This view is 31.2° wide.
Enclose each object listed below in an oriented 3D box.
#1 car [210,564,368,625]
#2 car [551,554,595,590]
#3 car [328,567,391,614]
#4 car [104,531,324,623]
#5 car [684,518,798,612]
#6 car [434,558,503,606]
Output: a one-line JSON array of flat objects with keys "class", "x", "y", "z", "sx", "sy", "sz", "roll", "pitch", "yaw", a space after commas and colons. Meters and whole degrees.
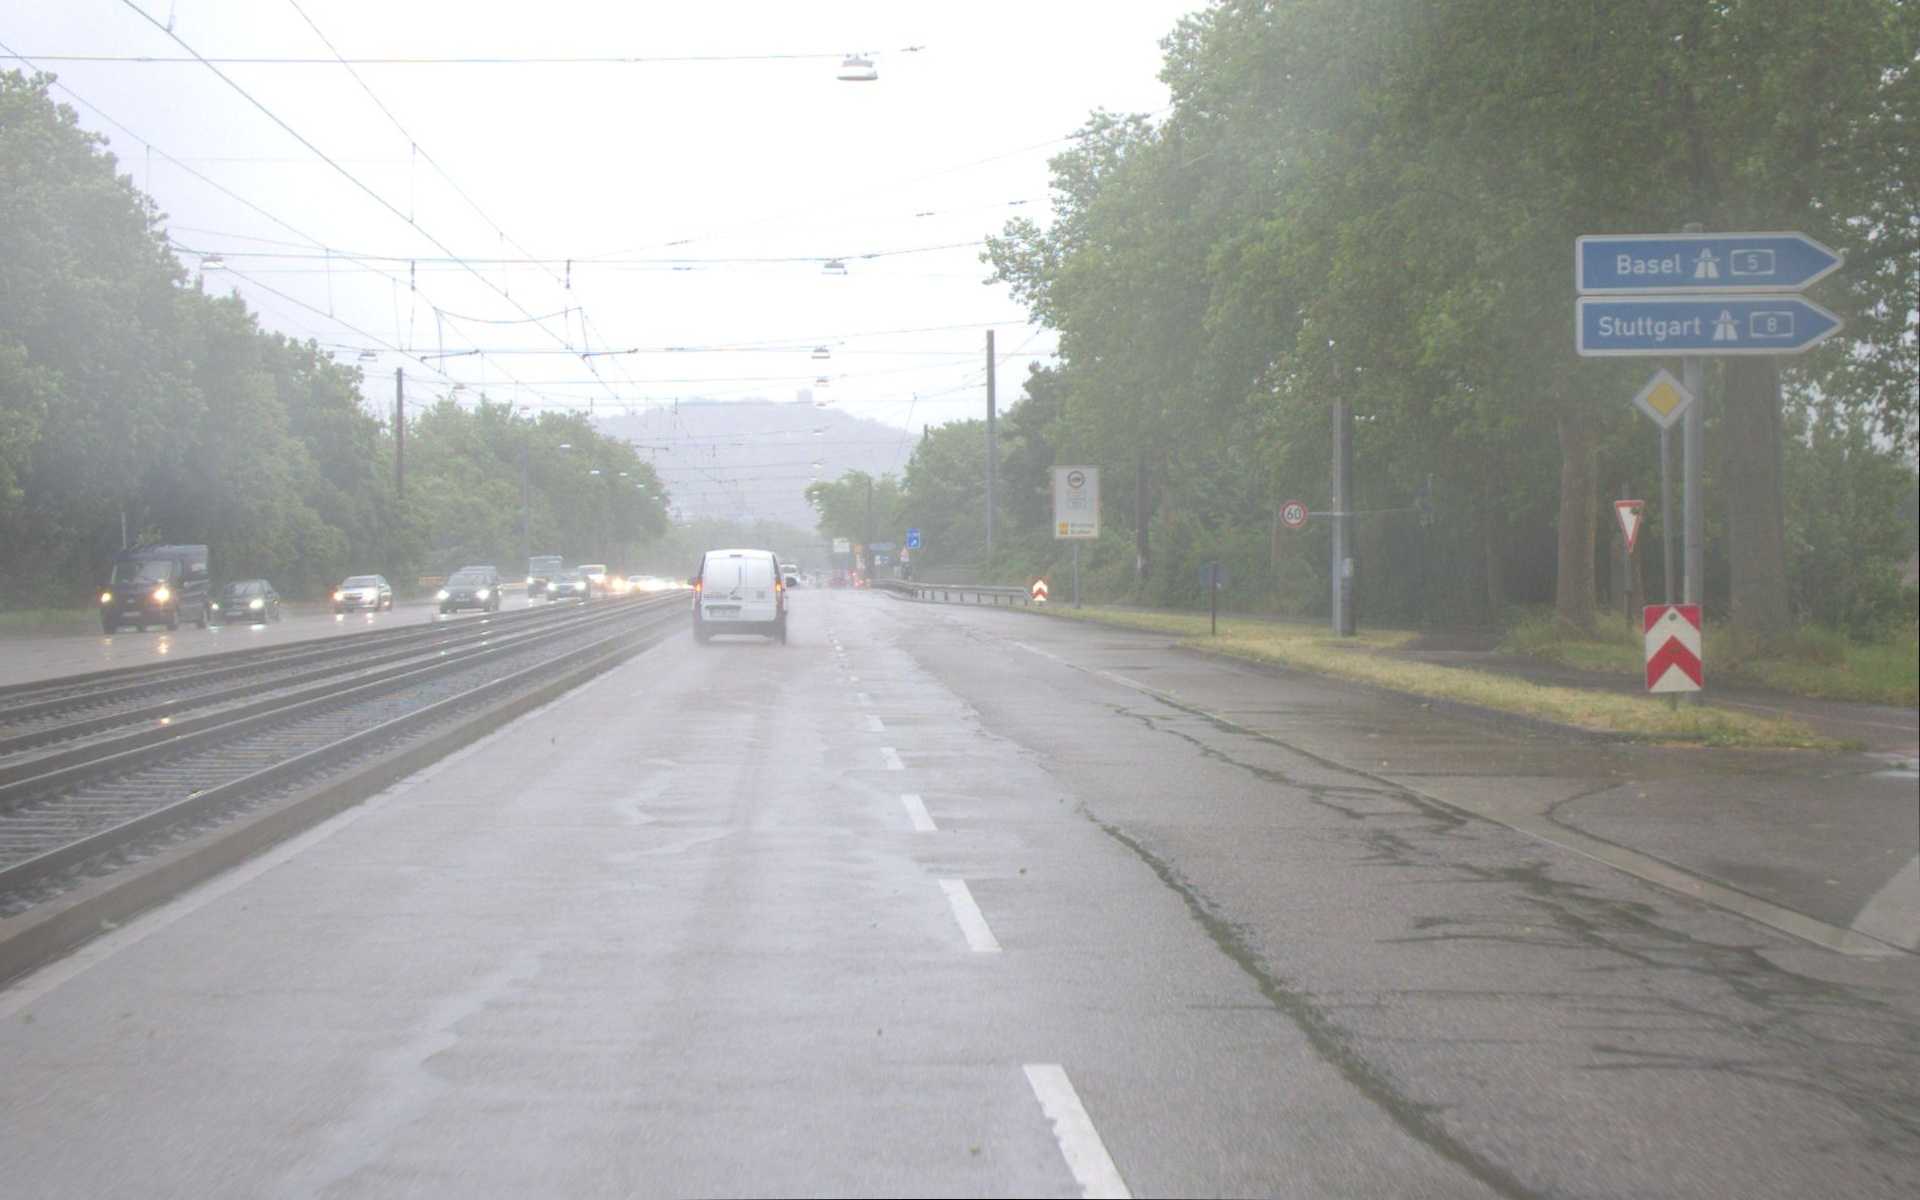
[{"class": "car", "x": -21.309, "y": -0.195, "z": 109.320, "sx": 2.087, "sy": 1.792, "sz": 4.753, "roll": 2, "pitch": 2, "yaw": 37}, {"class": "car", "x": -18.737, "y": -1.373, "z": 166.607, "sx": 1.776, "sy": 1.579, "sz": 5.682, "roll": 1, "pitch": 2, "yaw": -3}, {"class": "car", "x": -23.995, "y": -0.395, "z": 137.452, "sx": 1.819, "sy": 1.700, "sz": 5.021, "roll": 1, "pitch": 2, "yaw": -3}, {"class": "car", "x": -20.577, "y": -0.662, "z": 95.078, "sx": 2.336, "sy": 2.417, "sz": 5.837, "roll": 2, "pitch": 2, "yaw": 36}, {"class": "car", "x": -4.179, "y": -0.697, "z": 66.032, "sx": 1.989, "sy": 1.678, "sz": 3.740, "roll": 1, "pitch": 2, "yaw": -1}, {"class": "car", "x": -17.629, "y": -0.660, "z": 123.574, "sx": 1.790, "sy": 1.544, "sz": 5.314, "roll": 1, "pitch": 2, "yaw": -1}]
